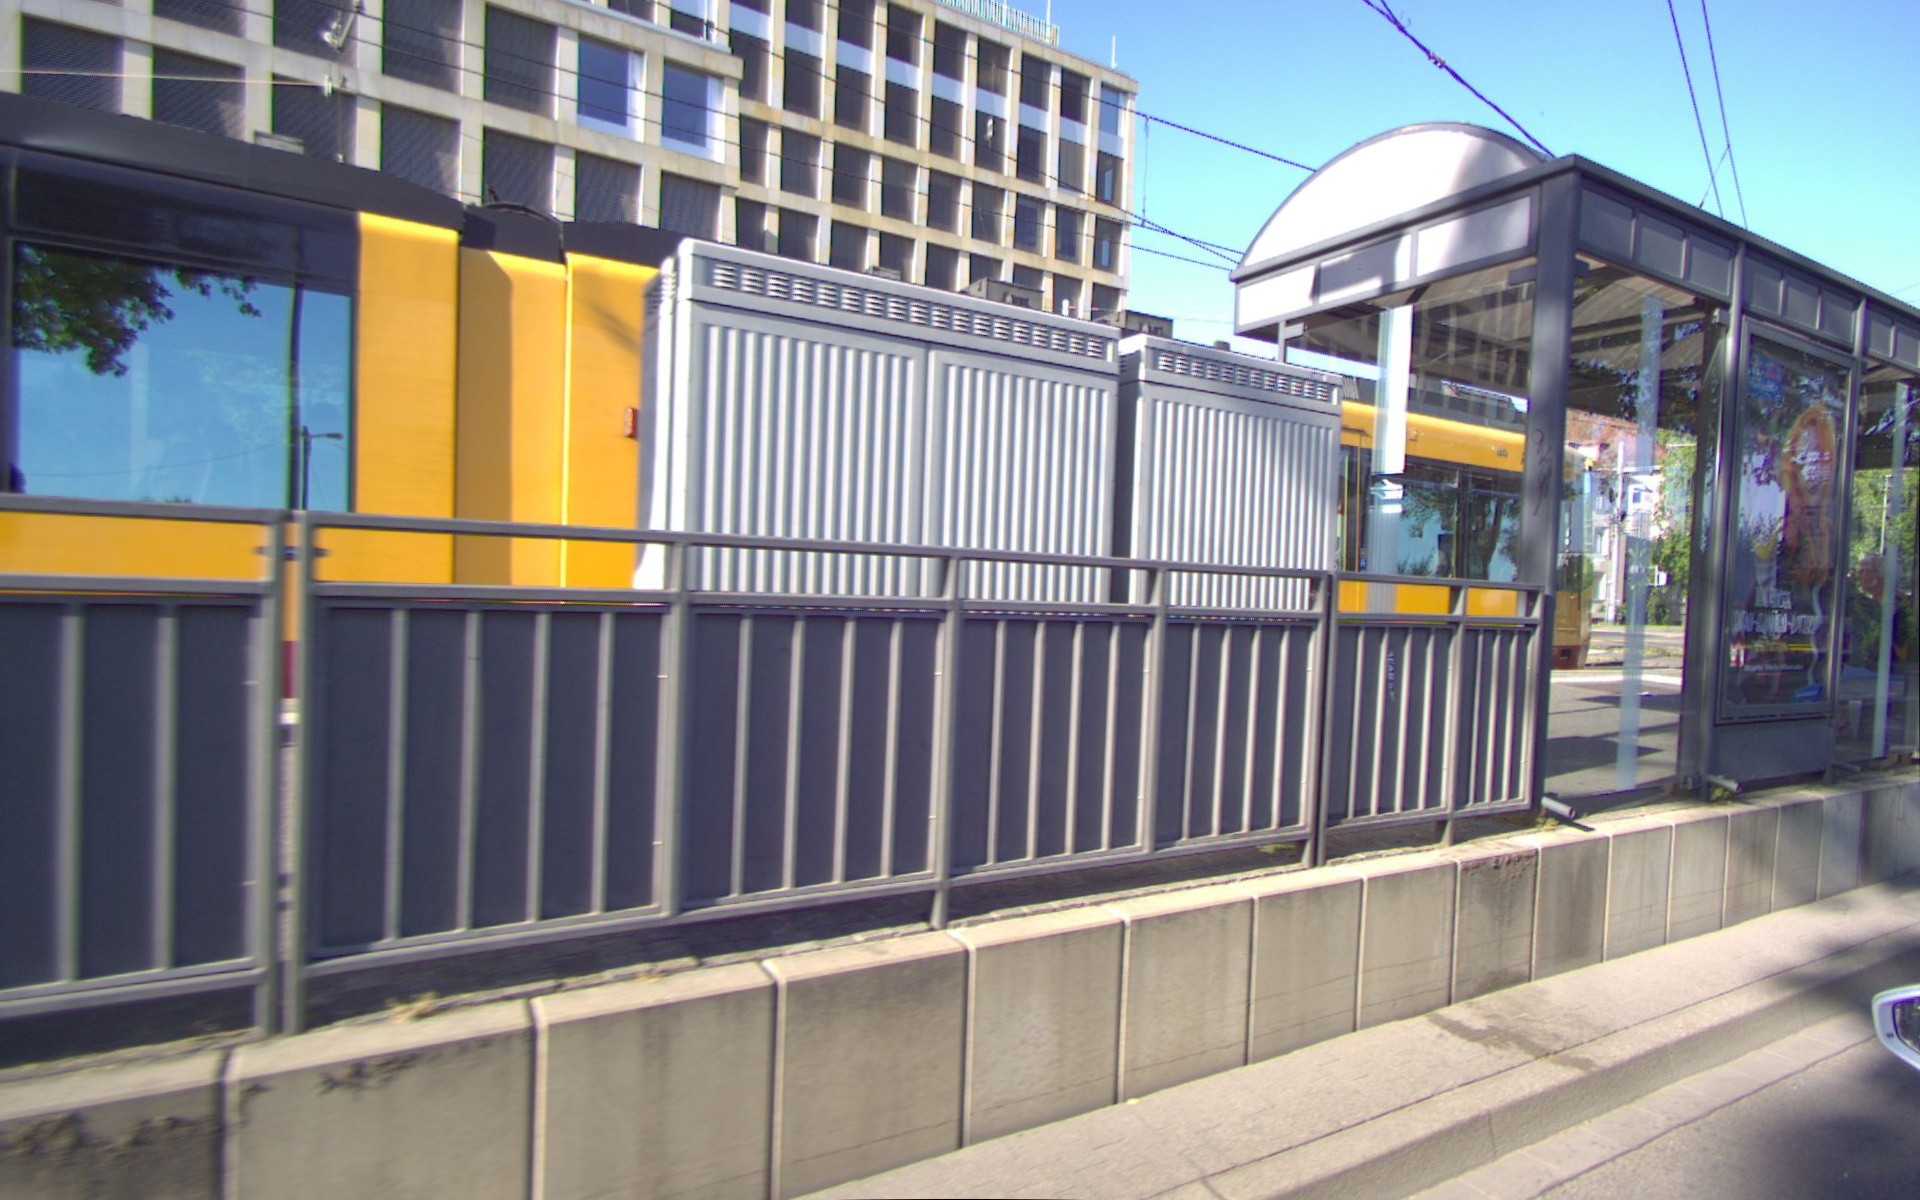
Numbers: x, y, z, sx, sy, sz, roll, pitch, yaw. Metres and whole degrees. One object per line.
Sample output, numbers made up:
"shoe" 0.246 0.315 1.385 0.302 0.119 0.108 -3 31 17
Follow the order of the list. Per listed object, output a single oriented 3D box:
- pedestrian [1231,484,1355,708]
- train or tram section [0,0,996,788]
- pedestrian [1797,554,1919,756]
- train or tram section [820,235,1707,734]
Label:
"pedestrian" 2.714 -0.030 8.219 0.606 1.736 0.654 1 2 -30
"train or tram section" -5.623 -1.094 6.159 11.708 3.881 3.291 2 2 -31
"pedestrian" 6.242 0.355 6.894 0.495 1.310 0.564 1 2 -31
"train or tram section" 4.406 -0.811 12.286 11.708 3.881 3.291 2 2 -31
